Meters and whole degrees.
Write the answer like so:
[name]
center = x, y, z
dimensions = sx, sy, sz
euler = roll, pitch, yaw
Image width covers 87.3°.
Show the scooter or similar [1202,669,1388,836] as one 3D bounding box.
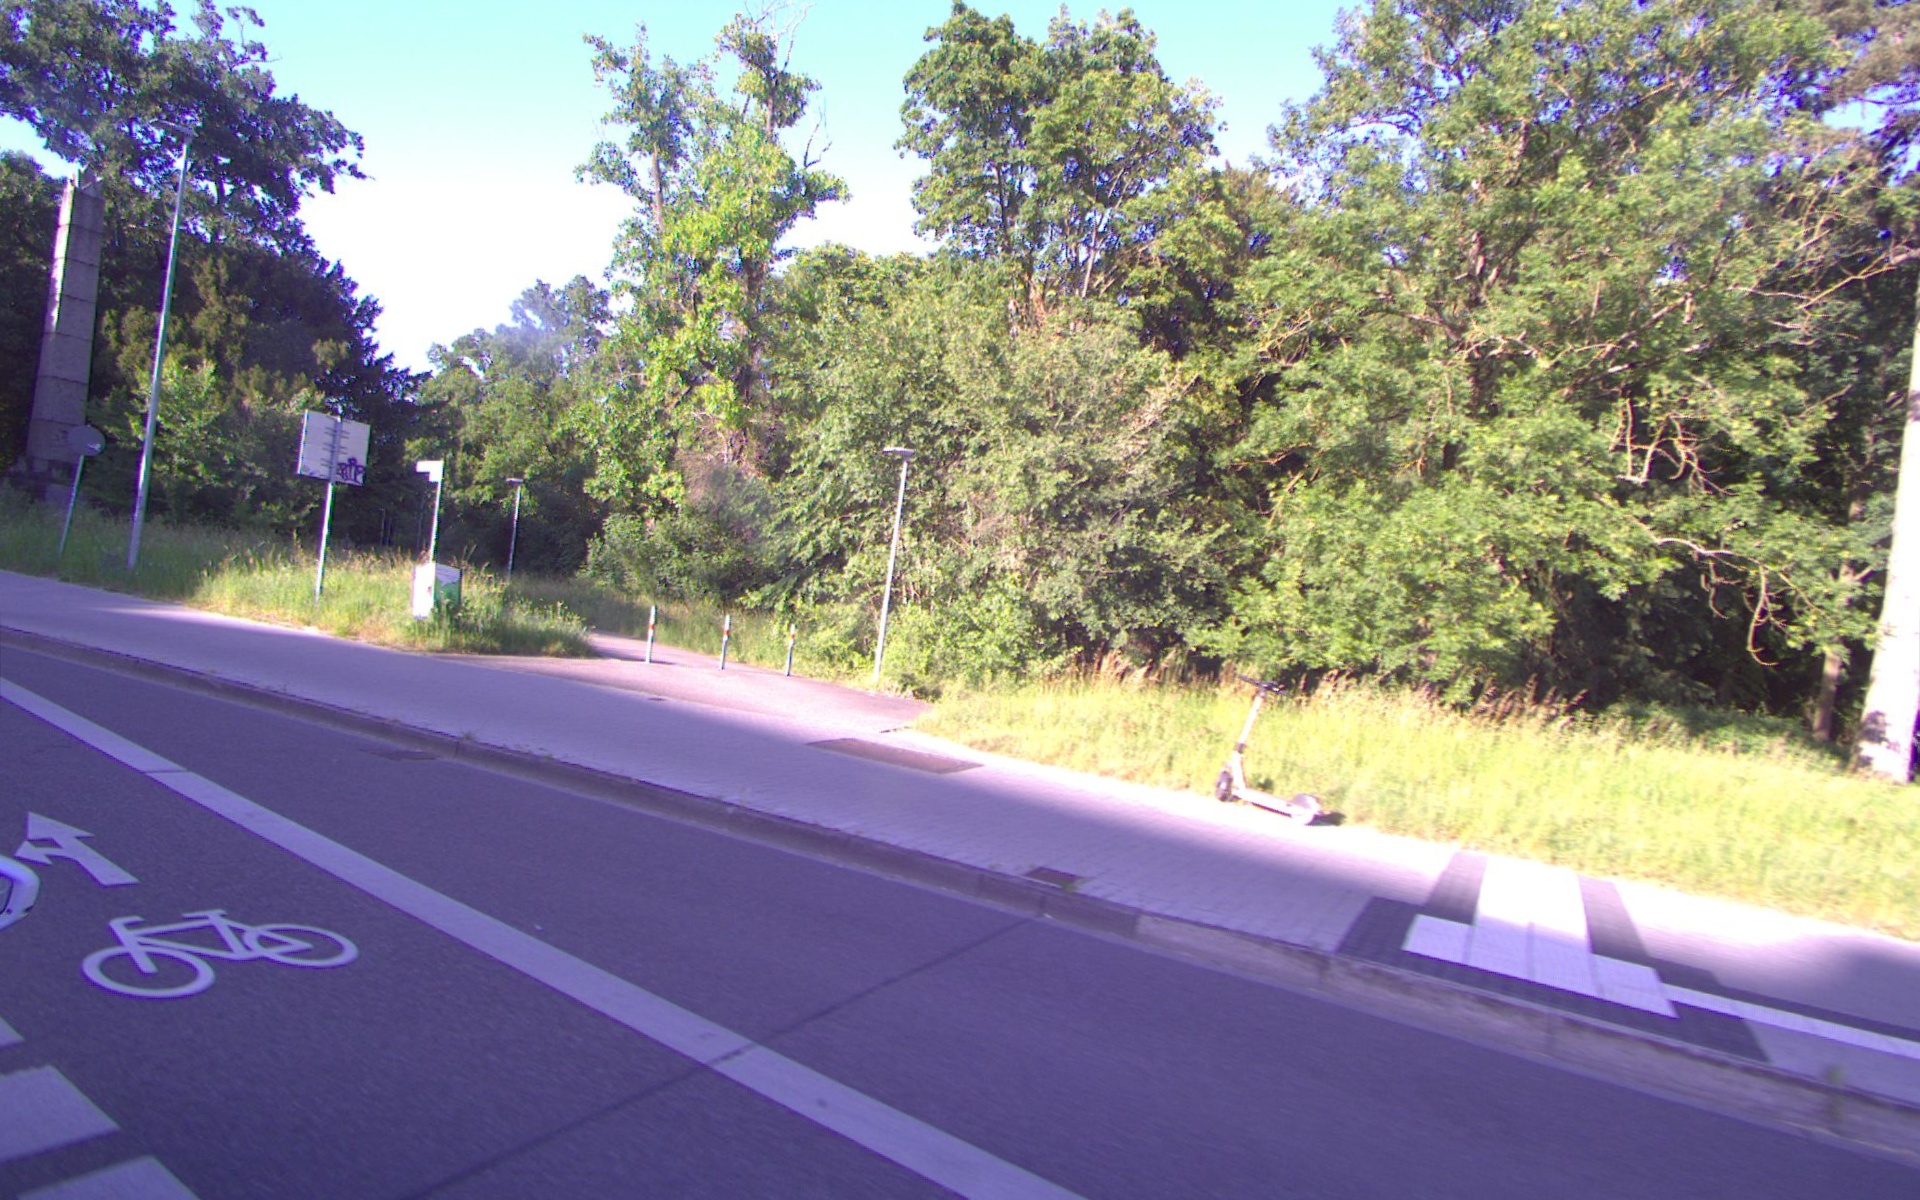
[scooter or similar]
center = 3.041, 1.361, 9.222
dimensions = 0.718, 1.263, 1.314
euler = 7, 0, -37
